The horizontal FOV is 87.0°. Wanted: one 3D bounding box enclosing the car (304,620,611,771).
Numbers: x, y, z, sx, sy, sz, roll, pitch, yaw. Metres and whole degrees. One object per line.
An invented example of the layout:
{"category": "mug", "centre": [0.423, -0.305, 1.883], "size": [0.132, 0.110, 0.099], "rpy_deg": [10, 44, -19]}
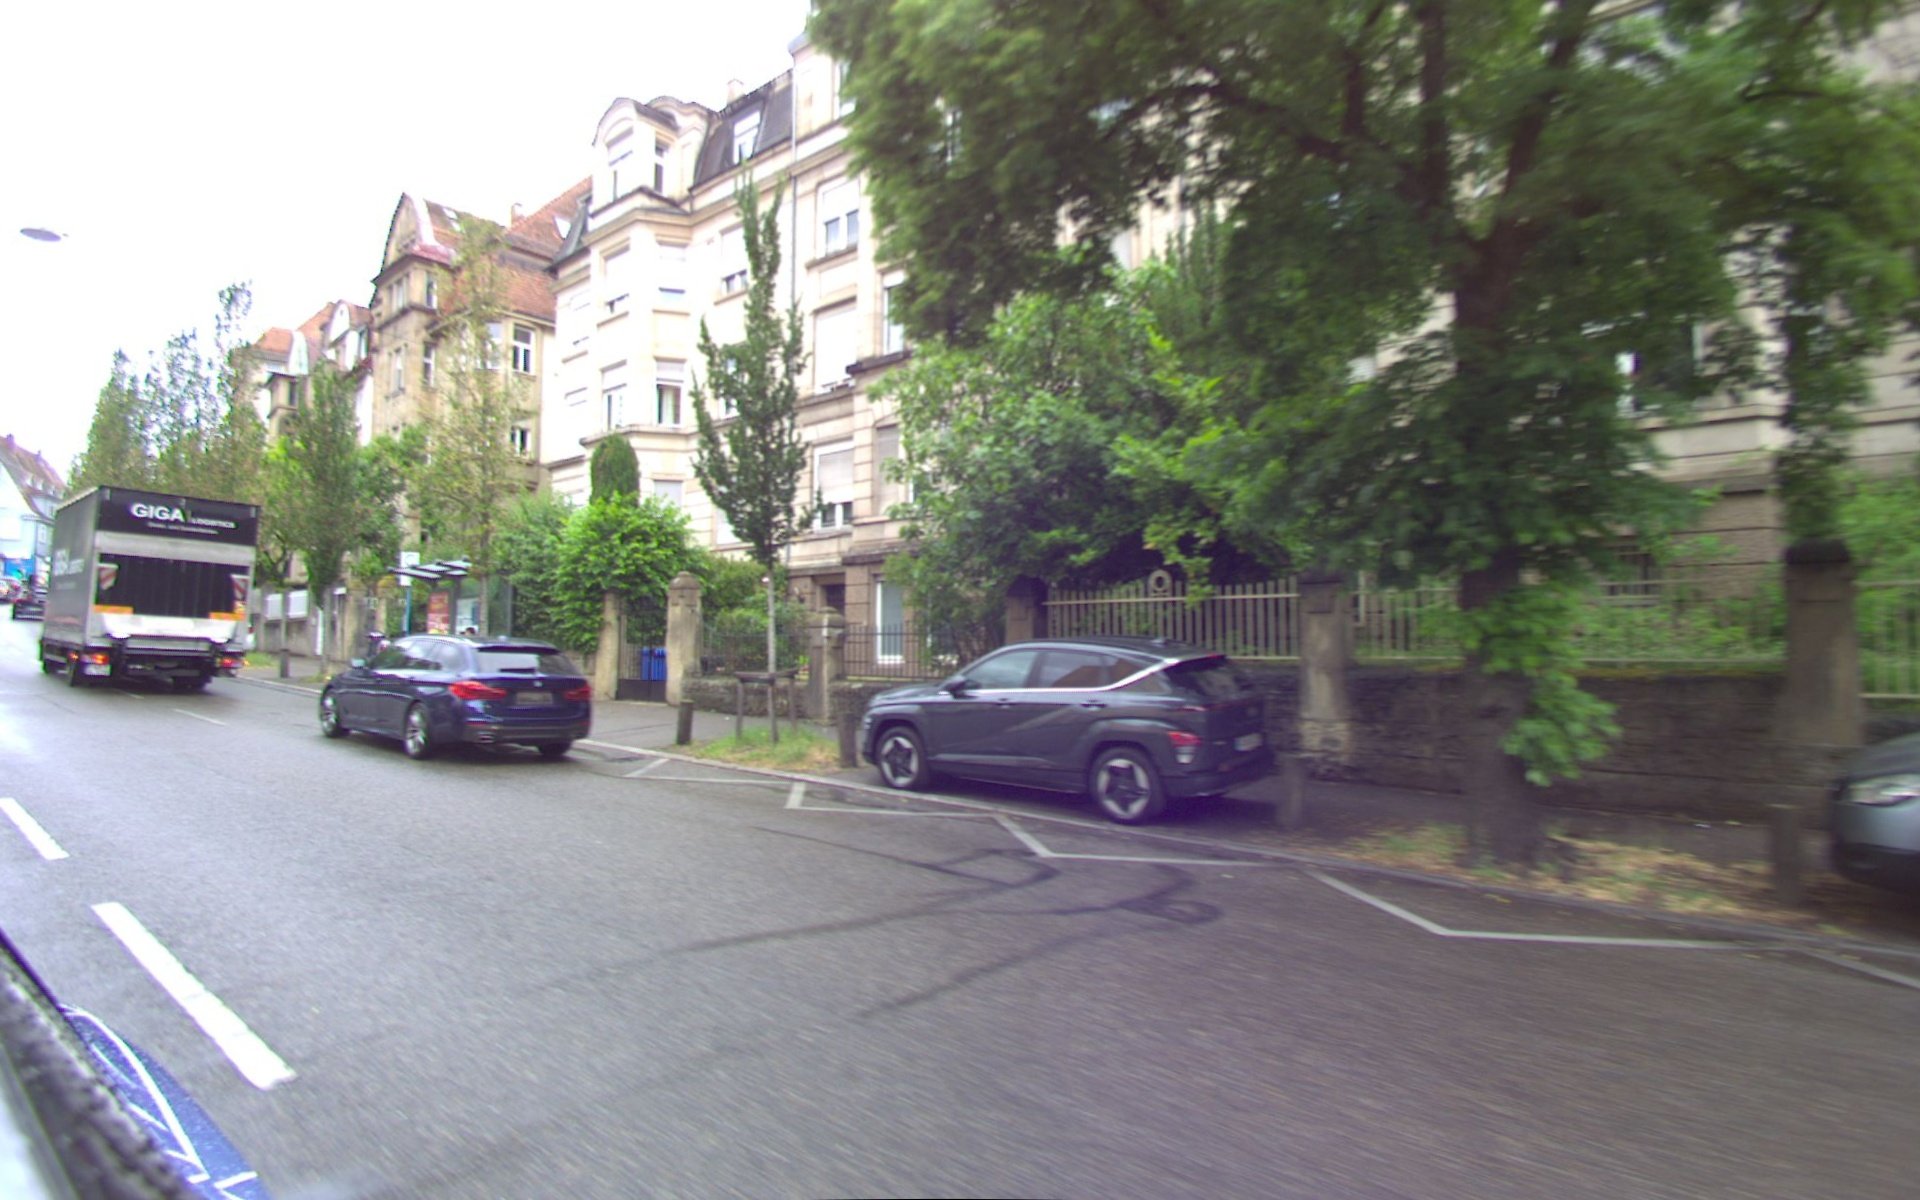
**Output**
{"category": "car", "centre": [-6.570, 1.088, 12.962], "size": [4.745, 1.478, 1.754], "rpy_deg": [1, -2, 41]}

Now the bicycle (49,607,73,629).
{"category": "bicycle", "centre": [-52.882, 1.036, 59.508], "size": [1.979, 1.245, 0.649], "rpy_deg": [1, -2, 38]}

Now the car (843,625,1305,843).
{"category": "car", "centre": [0.978, 1.108, 10.009], "size": [4.297, 1.571, 1.725], "rpy_deg": [1, 1, 38]}

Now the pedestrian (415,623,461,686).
{"category": "pedestrian", "centre": [-12.398, 1.284, 24.037], "size": [0.649, 1.443, 0.758], "rpy_deg": [0, -3, 43]}

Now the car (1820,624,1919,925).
{"category": "car", "centre": [6.967, 0.959, 4.836], "size": [4.302, 1.571, 1.722], "rpy_deg": [1, 0, 43]}

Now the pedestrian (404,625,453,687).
{"category": "pedestrian", "centre": [-12.828, 1.354, 24.437], "size": [0.759, 1.443, 0.758], "rpy_deg": [0, -2, 42]}

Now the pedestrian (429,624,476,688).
{"category": "pedestrian", "centre": [-11.873, 1.304, 23.679], "size": [0.649, 1.443, 0.758], "rpy_deg": [0, -3, 43]}

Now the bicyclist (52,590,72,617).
{"category": "bicyclist", "centre": [-52.747, 0.192, 59.465], "size": [0.989, 1.568, 0.649], "rpy_deg": [1, -2, 38]}

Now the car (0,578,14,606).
{"category": "car", "centre": [-62.127, -0.585, 65.116], "size": [1.632, 1.721, 4.119], "rpy_deg": [6, -3, -42]}

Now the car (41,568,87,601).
{"category": "car", "centre": [-75.745, -1.248, 85.655], "size": [2.101, 2.525, 5.422], "rpy_deg": [5, -4, -34]}

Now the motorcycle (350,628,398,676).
{"category": "motorcycle", "centre": [-16.188, 1.413, 27.935], "size": [1.763, 1.246, 0.648], "rpy_deg": [0, -3, 45]}

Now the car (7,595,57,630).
{"category": "car", "centre": [-47.497, 0.609, 51.795], "size": [1.723, 1.529, 3.873], "rpy_deg": [7, -4, -43]}

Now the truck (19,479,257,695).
{"category": "truck", "centre": [-18.419, -0.139, 22.369], "size": [9.307, 3.884, 2.618], "rpy_deg": [0, -4, 43]}
